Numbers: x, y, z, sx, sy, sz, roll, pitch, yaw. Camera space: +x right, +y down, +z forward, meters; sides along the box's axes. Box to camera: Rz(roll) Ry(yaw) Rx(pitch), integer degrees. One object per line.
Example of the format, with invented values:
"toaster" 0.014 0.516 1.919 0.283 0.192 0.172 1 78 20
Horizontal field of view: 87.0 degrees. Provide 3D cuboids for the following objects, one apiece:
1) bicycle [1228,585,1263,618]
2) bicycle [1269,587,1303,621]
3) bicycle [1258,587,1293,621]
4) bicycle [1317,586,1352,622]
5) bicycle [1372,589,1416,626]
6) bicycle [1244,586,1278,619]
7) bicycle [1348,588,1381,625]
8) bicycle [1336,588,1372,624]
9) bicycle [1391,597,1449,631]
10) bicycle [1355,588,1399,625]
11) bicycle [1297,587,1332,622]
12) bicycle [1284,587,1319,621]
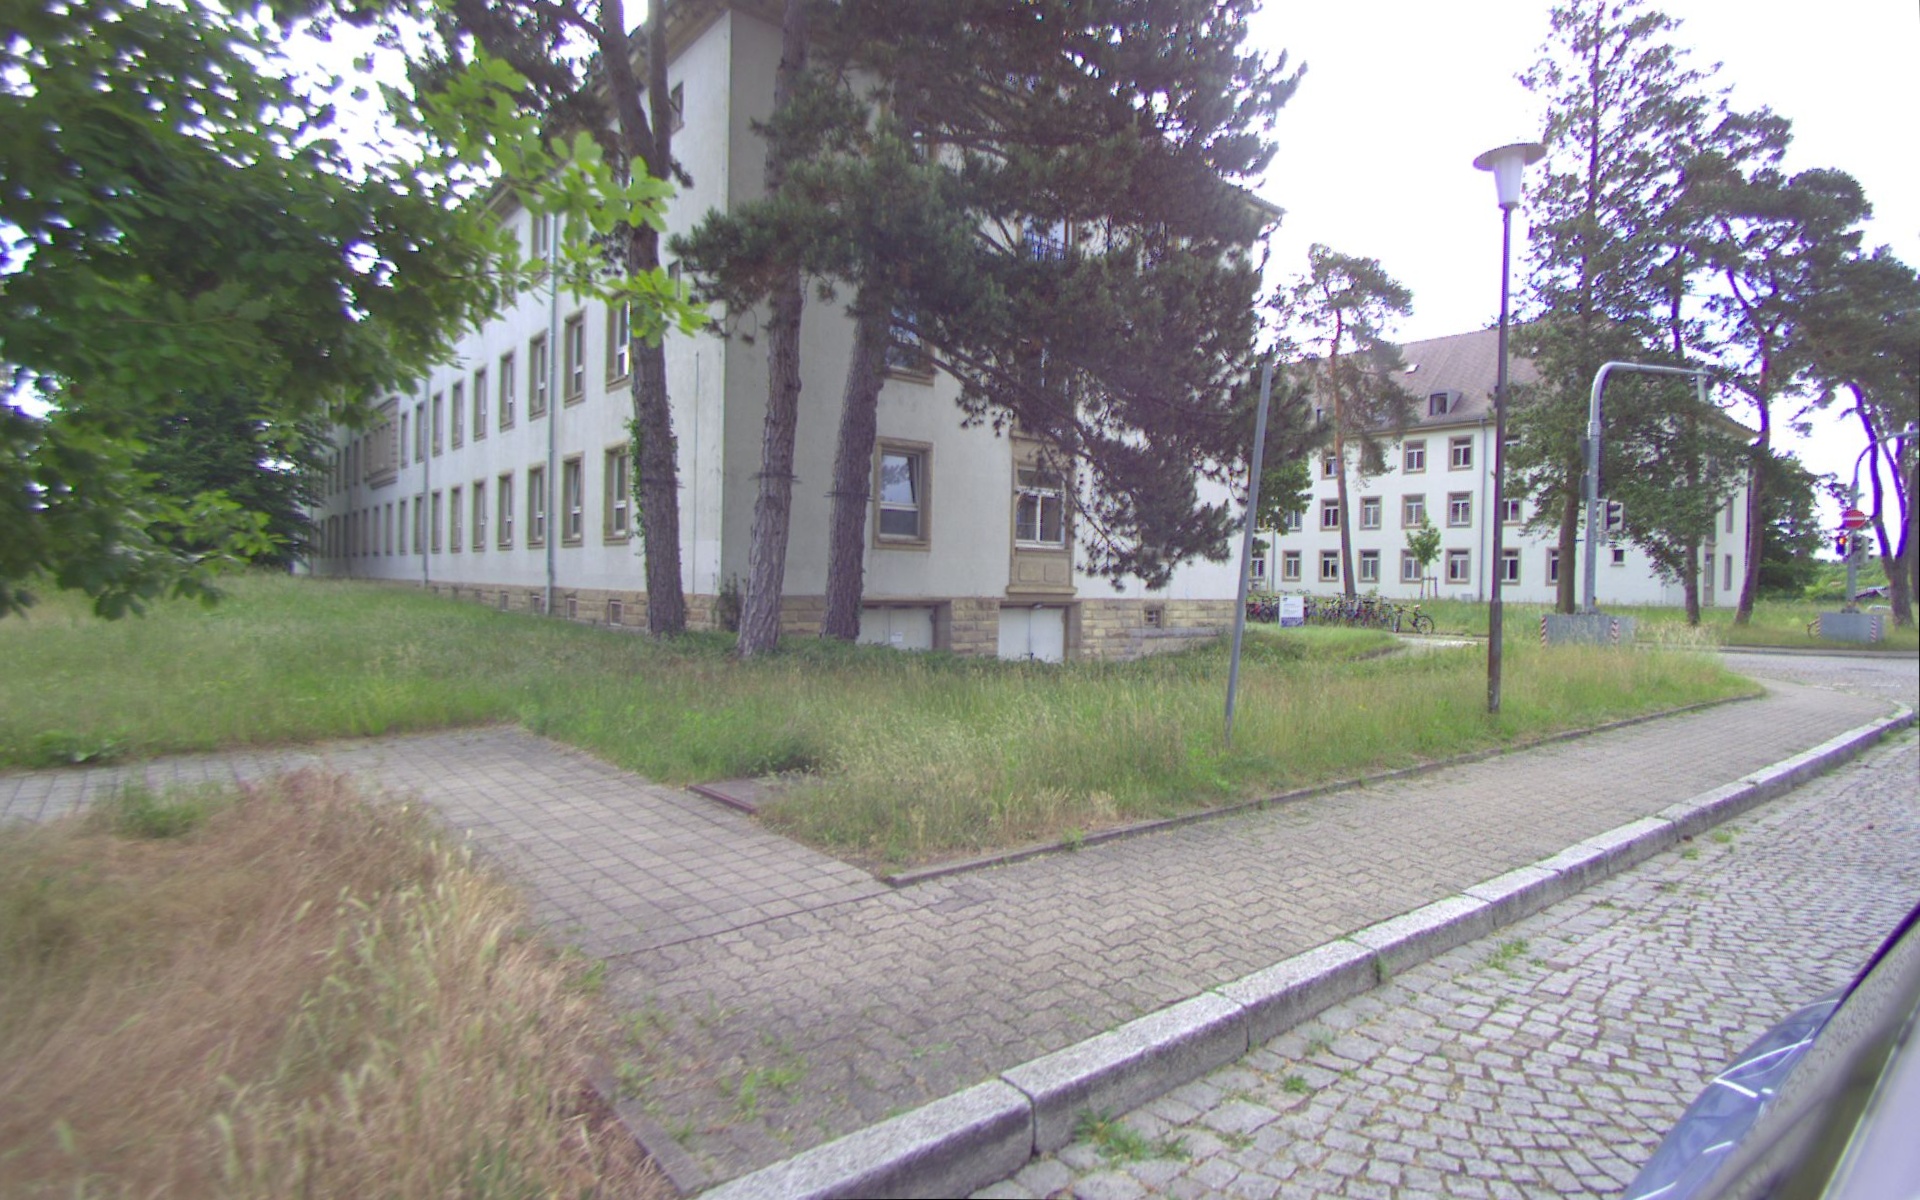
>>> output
"bicycle" 12.012 0.070 42.571 0.571 1.348 1.808 1 1 45
"bicycle" 13.243 0.159 41.105 0.571 1.348 1.808 1 1 45
"bicycle" 13.006 0.158 41.704 0.571 1.348 1.808 1 1 45
"bicycle" 14.628 0.161 39.472 0.571 1.348 1.808 1 1 45
"bicycle" 16.219 0.271 37.780 1.802 1.348 0.573 1 1 -33
"bicycle" 12.517 0.094 42.068 0.571 1.348 1.808 1 1 45
"bicycle" 15.428 0.241 38.581 0.481 1.348 1.808 1 1 45
"bicycle" 15.161 0.241 38.923 0.571 1.348 1.808 1 1 45
"bicycle" 16.101 0.466 35.465 0.562 1.098 1.837 -2 2 -36
"bicycle" 15.735 0.242 38.190 1.802 1.348 0.573 1 1 -33
"bicycle" 14.044 0.159 40.096 0.571 1.348 1.808 1 1 45
"bicycle" 13.664 0.159 40.515 0.571 1.348 1.808 1 1 45
